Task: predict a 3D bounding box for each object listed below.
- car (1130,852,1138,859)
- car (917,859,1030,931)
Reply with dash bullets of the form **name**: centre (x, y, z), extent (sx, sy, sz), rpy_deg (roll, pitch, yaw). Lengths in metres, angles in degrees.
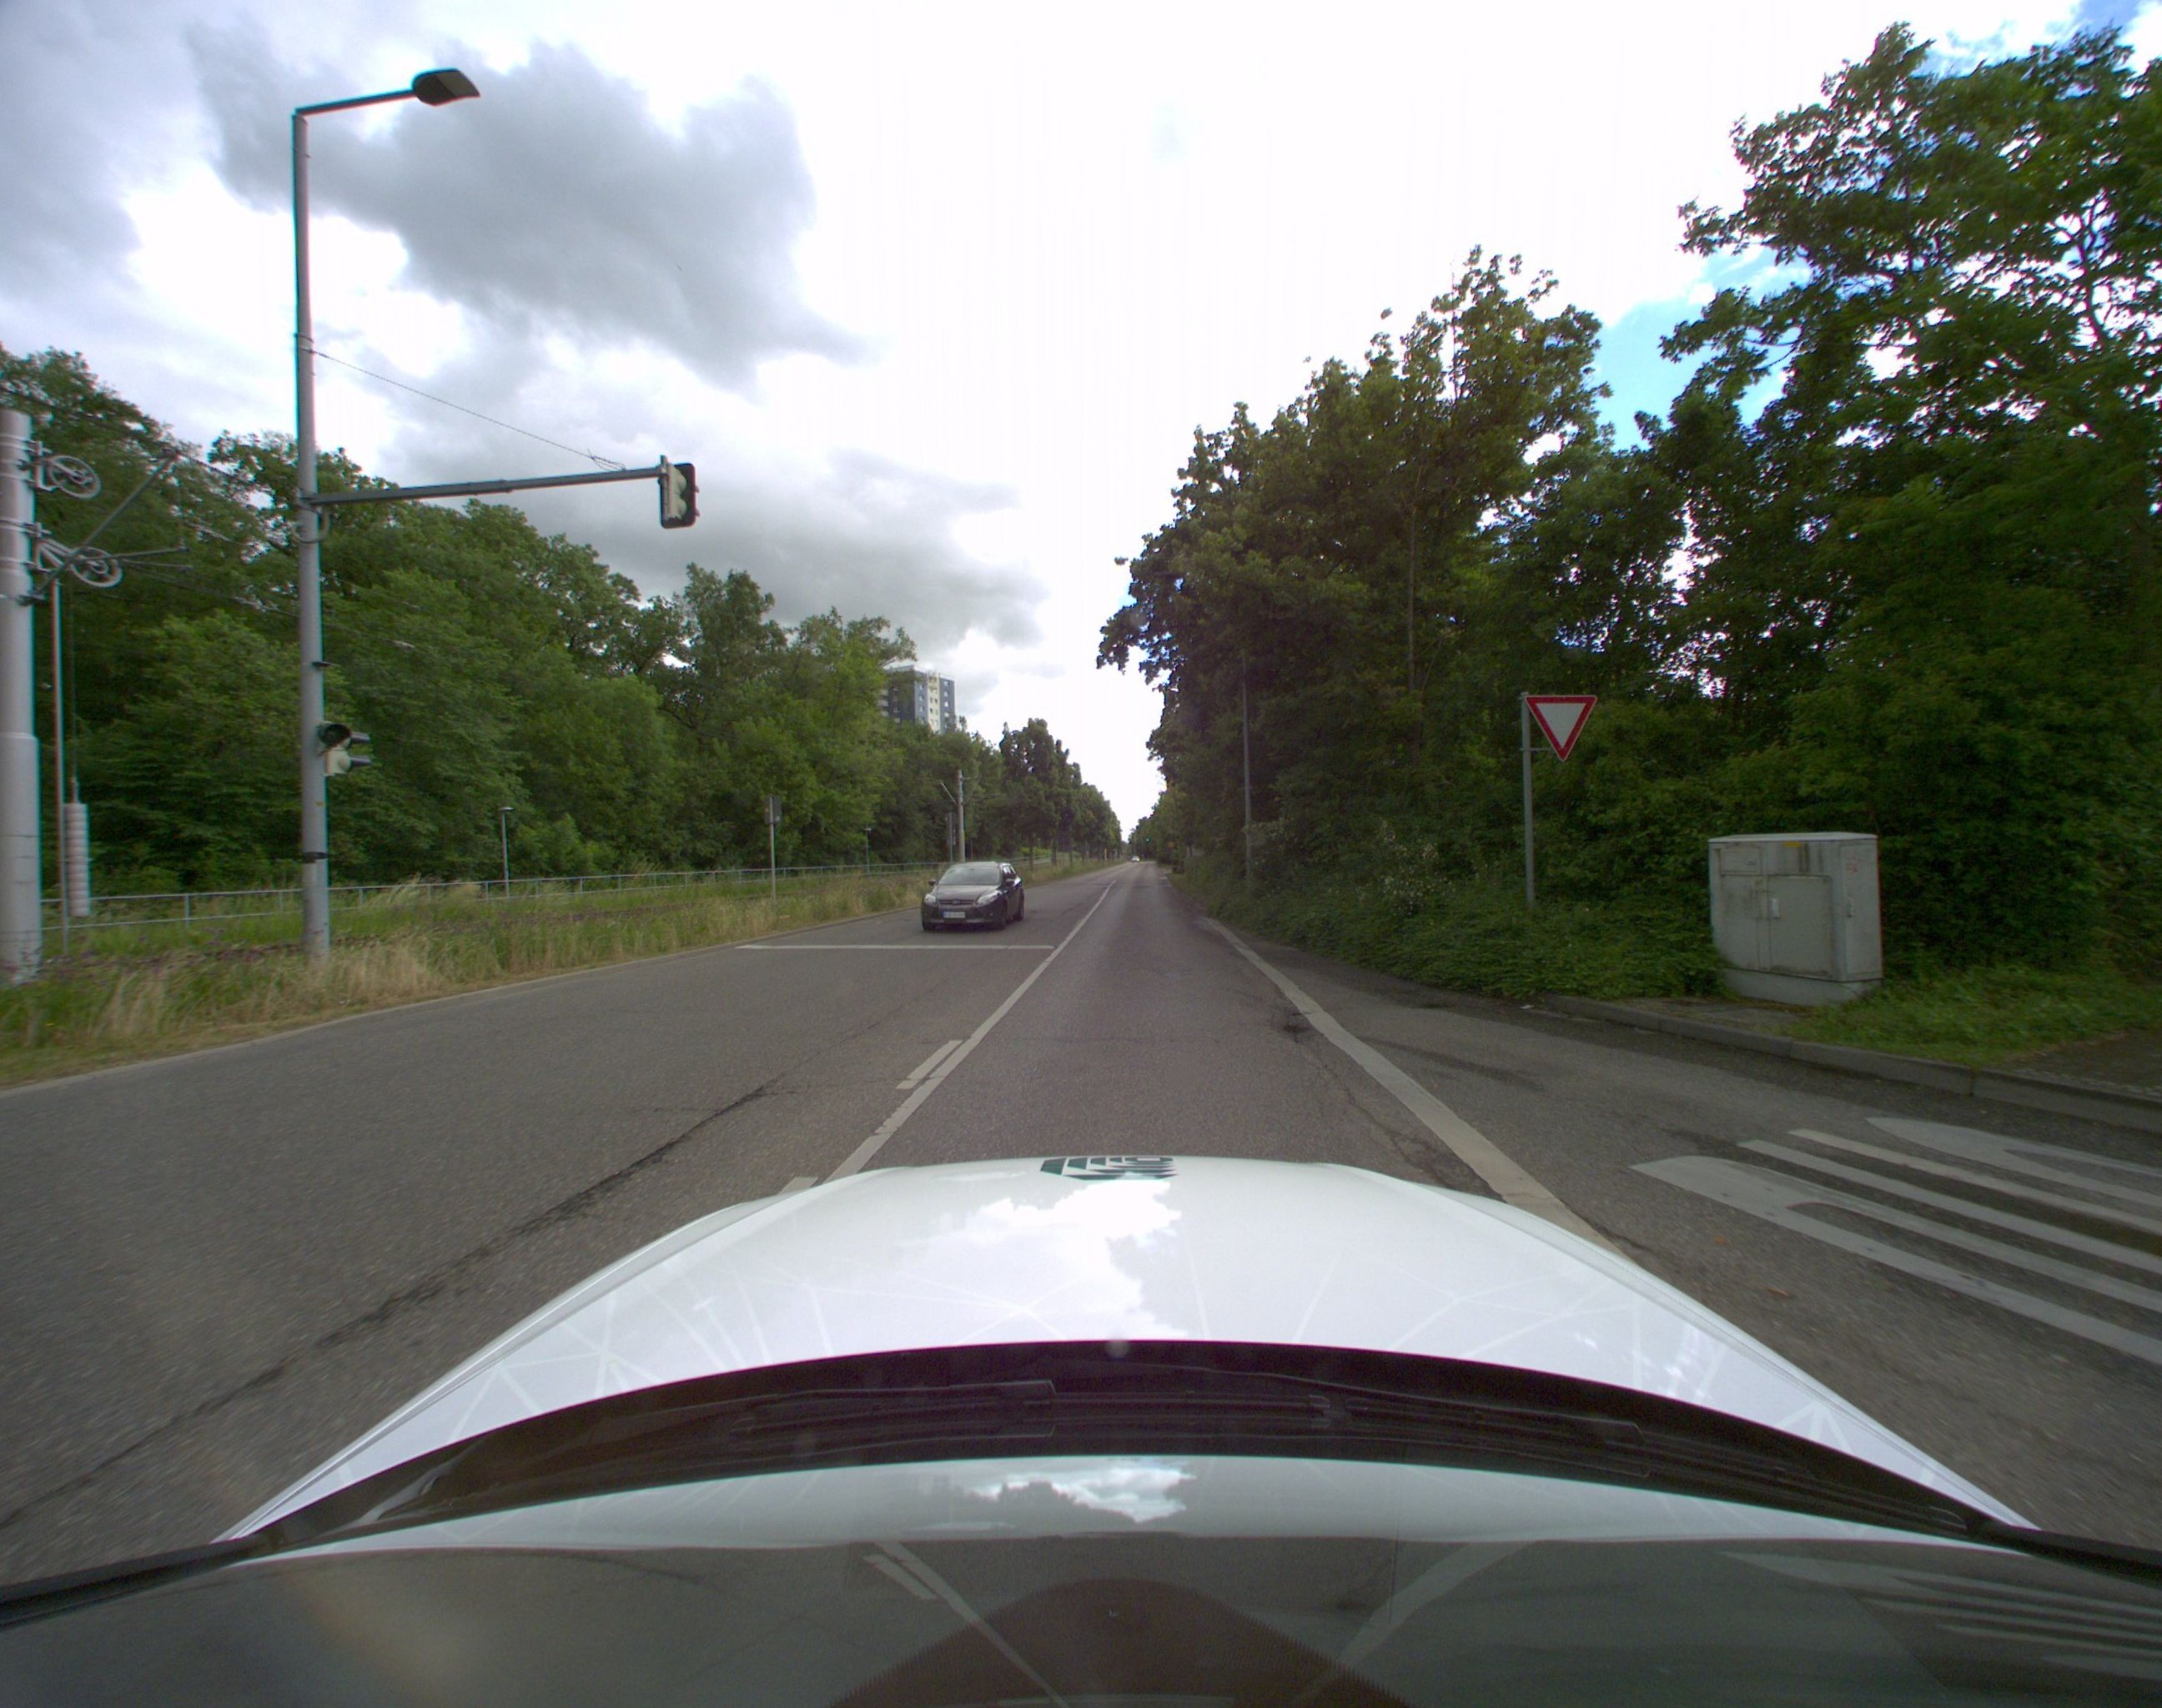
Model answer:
- **car**: centre (12.857, 0.331, 196.368), extent (1.708, 1.629, 4.005), rpy_deg (-8, -1, 5)
- **car**: centre (-2.350, 0.855, 18.919), extent (1.748, 1.434, 4.433), rpy_deg (-1, 0, 3)
